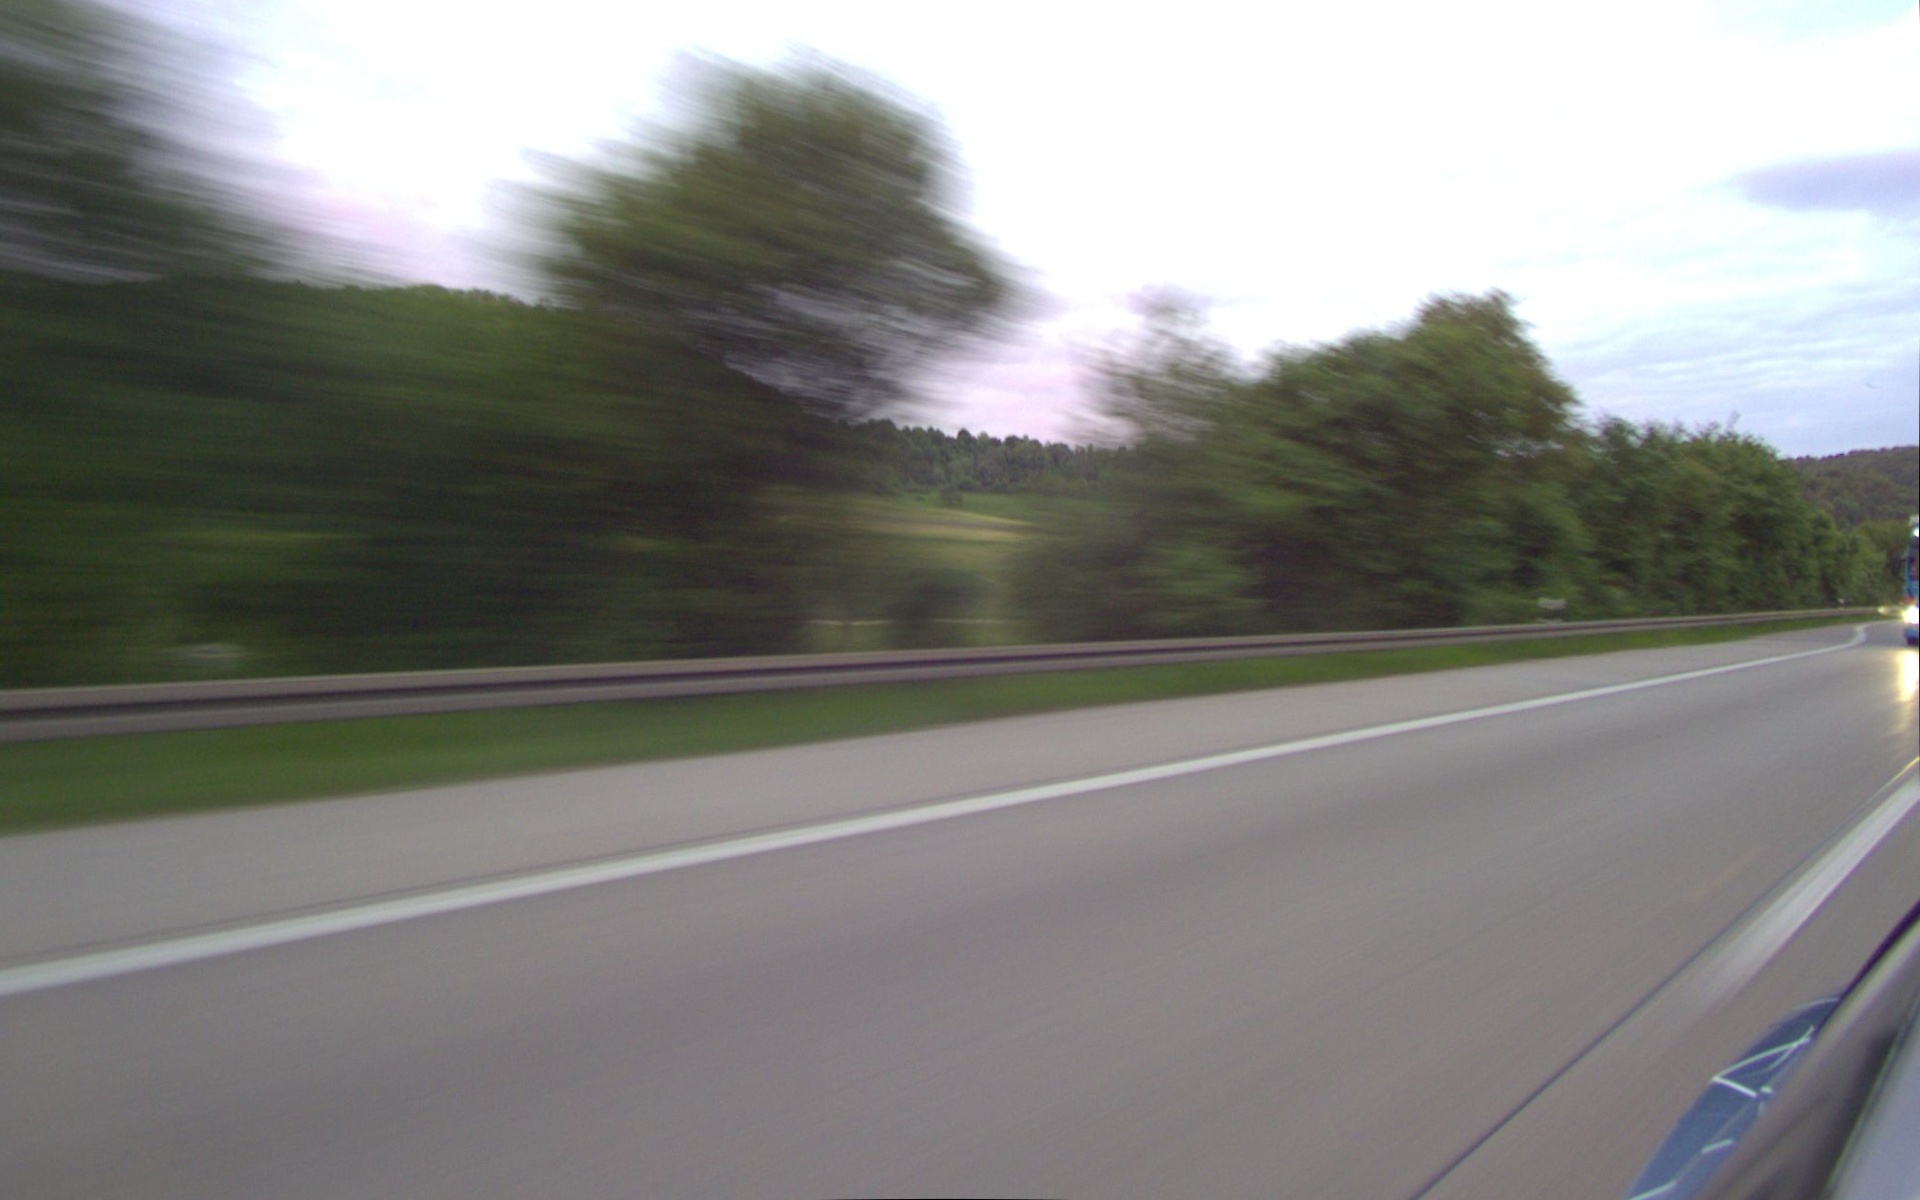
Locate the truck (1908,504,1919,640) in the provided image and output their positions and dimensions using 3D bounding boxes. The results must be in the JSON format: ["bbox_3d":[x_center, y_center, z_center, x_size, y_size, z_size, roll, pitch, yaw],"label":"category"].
[{"bbox_3d":[31.432,-0.855,31.127,5.747,4.047,2.741,0,0,-41],"label":"truck"}]
